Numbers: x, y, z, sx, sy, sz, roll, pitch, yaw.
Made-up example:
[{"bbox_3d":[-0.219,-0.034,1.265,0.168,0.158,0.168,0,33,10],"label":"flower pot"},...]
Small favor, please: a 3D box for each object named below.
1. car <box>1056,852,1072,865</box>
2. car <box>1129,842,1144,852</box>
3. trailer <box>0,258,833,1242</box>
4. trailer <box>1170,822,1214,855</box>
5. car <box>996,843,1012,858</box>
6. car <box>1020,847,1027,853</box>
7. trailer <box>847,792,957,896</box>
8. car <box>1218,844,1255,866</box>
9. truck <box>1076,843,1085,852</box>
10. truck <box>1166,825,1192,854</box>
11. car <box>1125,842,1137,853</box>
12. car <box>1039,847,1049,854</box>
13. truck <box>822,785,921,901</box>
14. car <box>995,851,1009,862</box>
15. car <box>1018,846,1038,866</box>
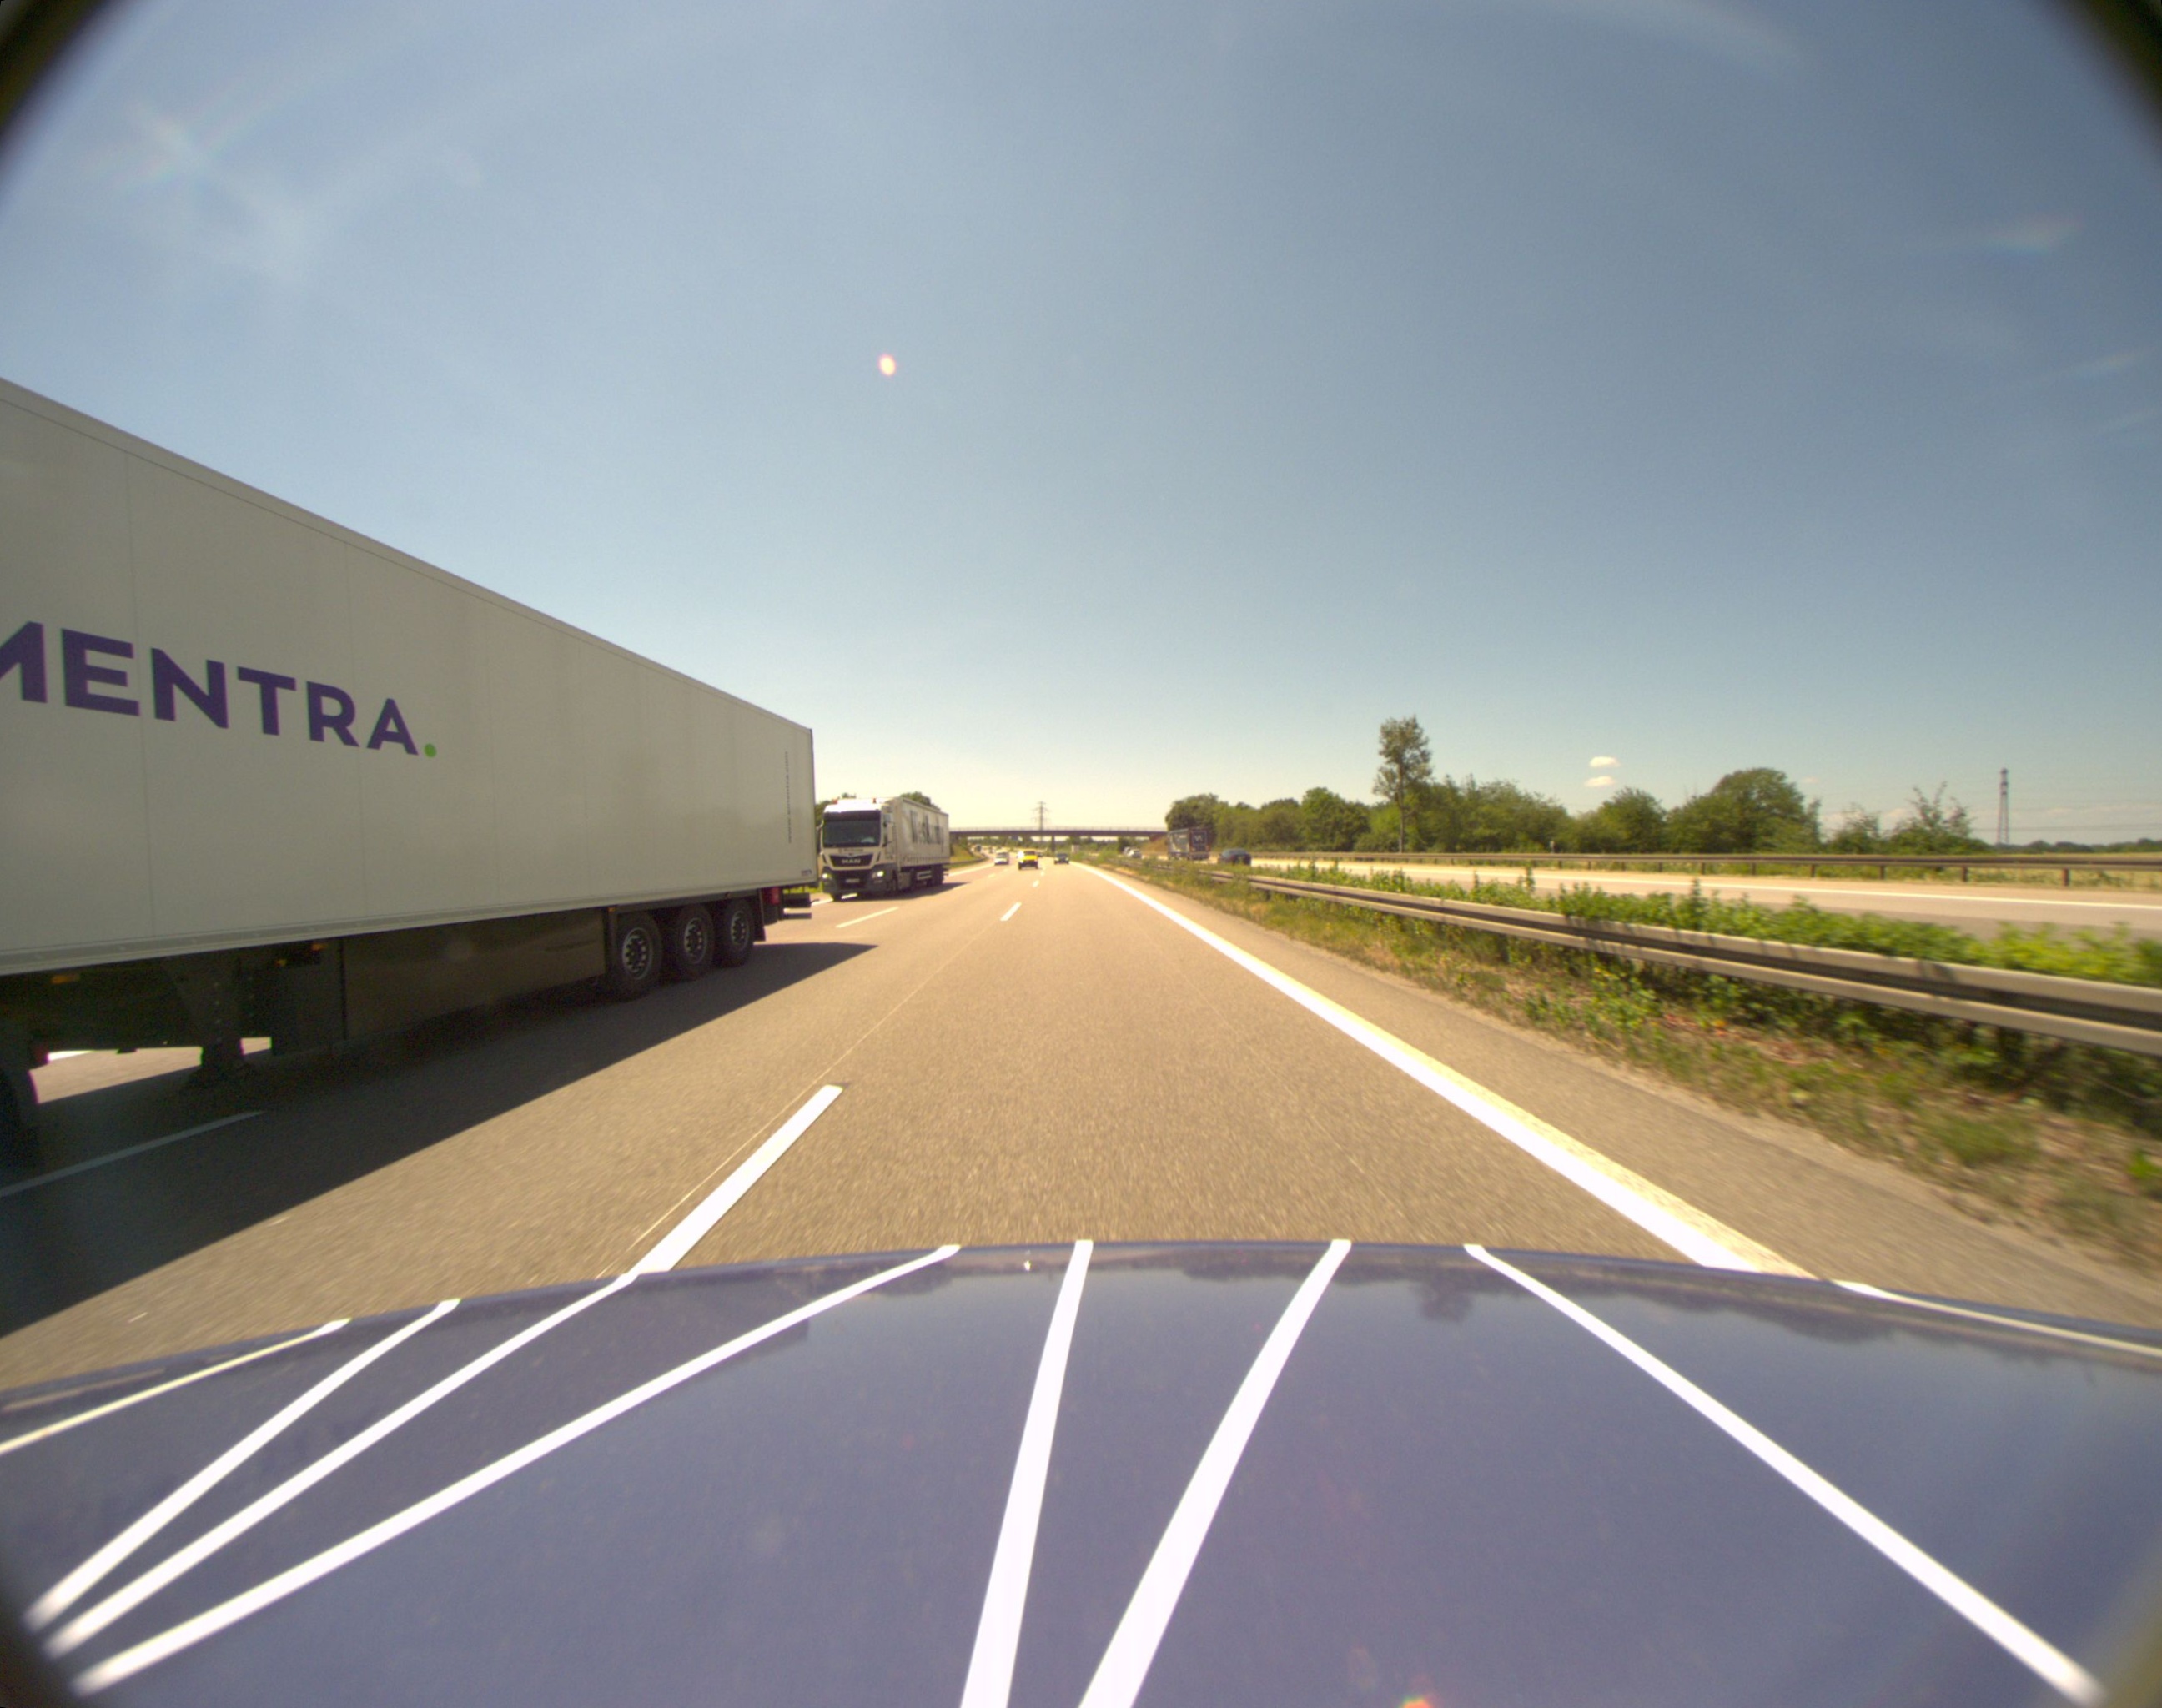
[{"bbox_3d":[-2.135,0.563,94.813,1.726,1.478,3.998,-2,1,-3],"label":"car"},{"bbox_3d":[8.720,-1.069,119.571,1.847,1.577,4.486,-1,1,-3],"label":"car"},{"bbox_3d":[-6.469,-0.513,7.846,2.908,4.630,13.985,-2,1,1],"label":"trailer"},{"bbox_3d":[14.265,-1.982,99.385,2.888,3.925,14.051,-1,1,-3],"label":"trailer"},{"bbox_3d":[-11.631,-0.555,115.063,2.189,2.253,4.947,-1,1,-8],"label":"car"},{"bbox_3d":[-15.749,-1.111,209.183,1.650,1.557,3.597,-1,1,-8],"label":"car"},{"bbox_3d":[-8.587,-0.475,38.483,2.602,4.227,13.636,-2,1,-2],"label":"trailer"},{"bbox_3d":[11.930,0.053,58.415,1.787,1.509,4.500,-2,1,-1],"label":"car"},{"bbox_3d":[-0.150,-2.213,260.127,2.458,3.081,6.987,-2,1,-4],"label":"truck"},{"bbox_3d":[13.787,-2.014,106.778,2.902,3.893,3.998,-1,1,-3],"label":"truck"},{"bbox_3d":[10.457,-1.355,159.239,2.064,2.059,5.407,-1,1,-3],"label":"car"},{"bbox_3d":[-9.416,-0.887,193.287,2.000,1.707,3.997,-1,1,-8],"label":"car"},{"bbox_3d":[-8.332,-0.422,30.858,2.607,4.231,5.087,-2,1,-2],"label":"truck"},{"bbox_3d":[-11.276,0.395,108.322,1.785,1.467,3.997,-1,1,-8],"label":"car"},{"bbox_3d":[-5.098,0.171,73.279,1.777,1.882,3.831,-1,1,-3],"label":"car"}]
